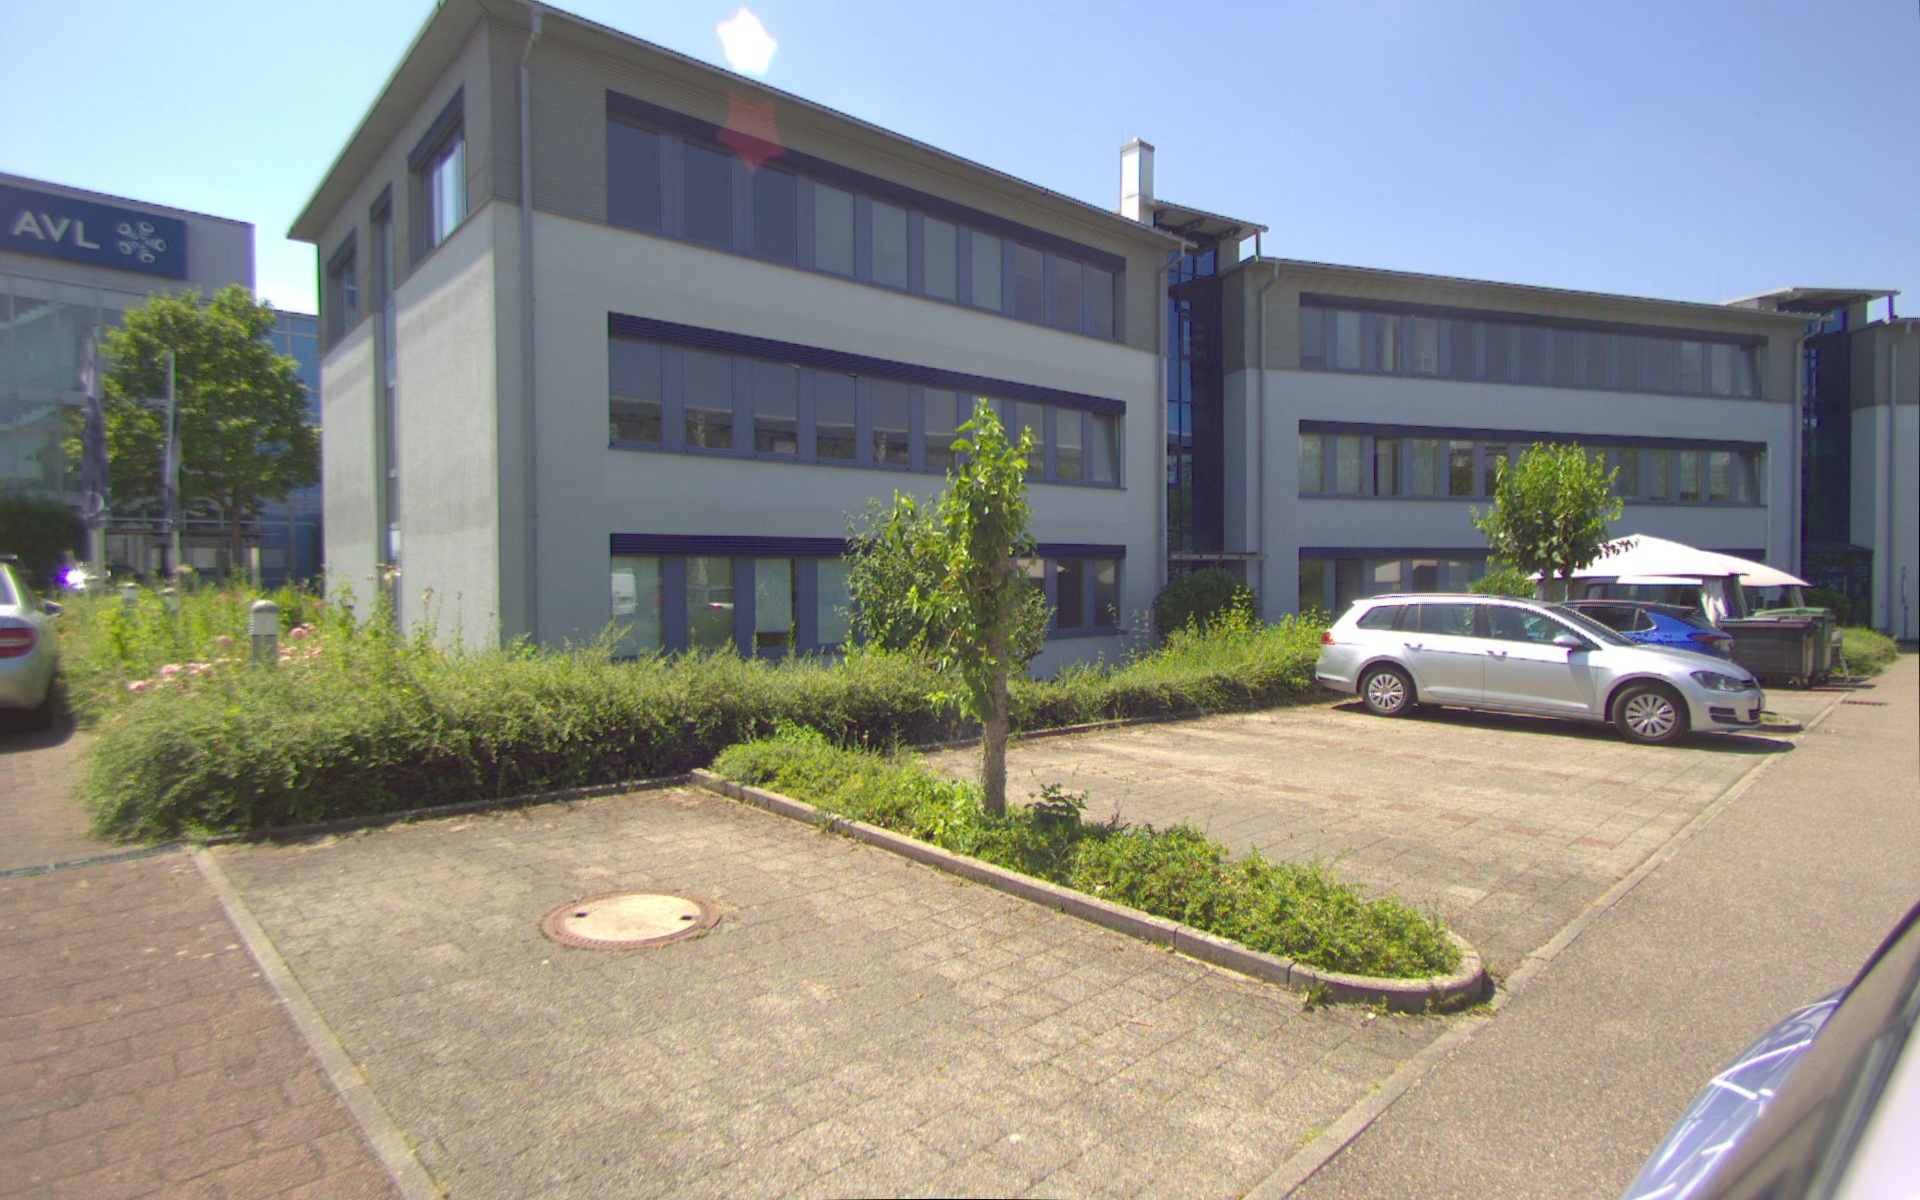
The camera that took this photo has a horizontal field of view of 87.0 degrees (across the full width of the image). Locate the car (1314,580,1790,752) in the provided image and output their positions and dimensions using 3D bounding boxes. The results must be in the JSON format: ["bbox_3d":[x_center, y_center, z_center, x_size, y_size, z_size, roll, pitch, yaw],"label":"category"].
[{"bbox_3d":[6.608,0.580,11.669,1.826,1.538,4.416,0,2,-44],"label":"car"}]

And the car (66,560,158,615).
[{"bbox_3d":[-25.942,-0.428,30.927,4.246,1.500,1.747,3,3,44],"label":"car"}]

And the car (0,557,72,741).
[{"bbox_3d":[-9.220,0.342,9.126,1.774,1.415,4.413,-1,2,-41],"label":"car"}]

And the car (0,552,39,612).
[{"bbox_3d":[-27.728,-0.564,28.897,3.975,1.630,1.902,3,2,44],"label":"car"}]

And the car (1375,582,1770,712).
[{"bbox_3d":[8.696,0.545,14.697,1.826,1.512,4.601,0,2,-44],"label":"car"}]
